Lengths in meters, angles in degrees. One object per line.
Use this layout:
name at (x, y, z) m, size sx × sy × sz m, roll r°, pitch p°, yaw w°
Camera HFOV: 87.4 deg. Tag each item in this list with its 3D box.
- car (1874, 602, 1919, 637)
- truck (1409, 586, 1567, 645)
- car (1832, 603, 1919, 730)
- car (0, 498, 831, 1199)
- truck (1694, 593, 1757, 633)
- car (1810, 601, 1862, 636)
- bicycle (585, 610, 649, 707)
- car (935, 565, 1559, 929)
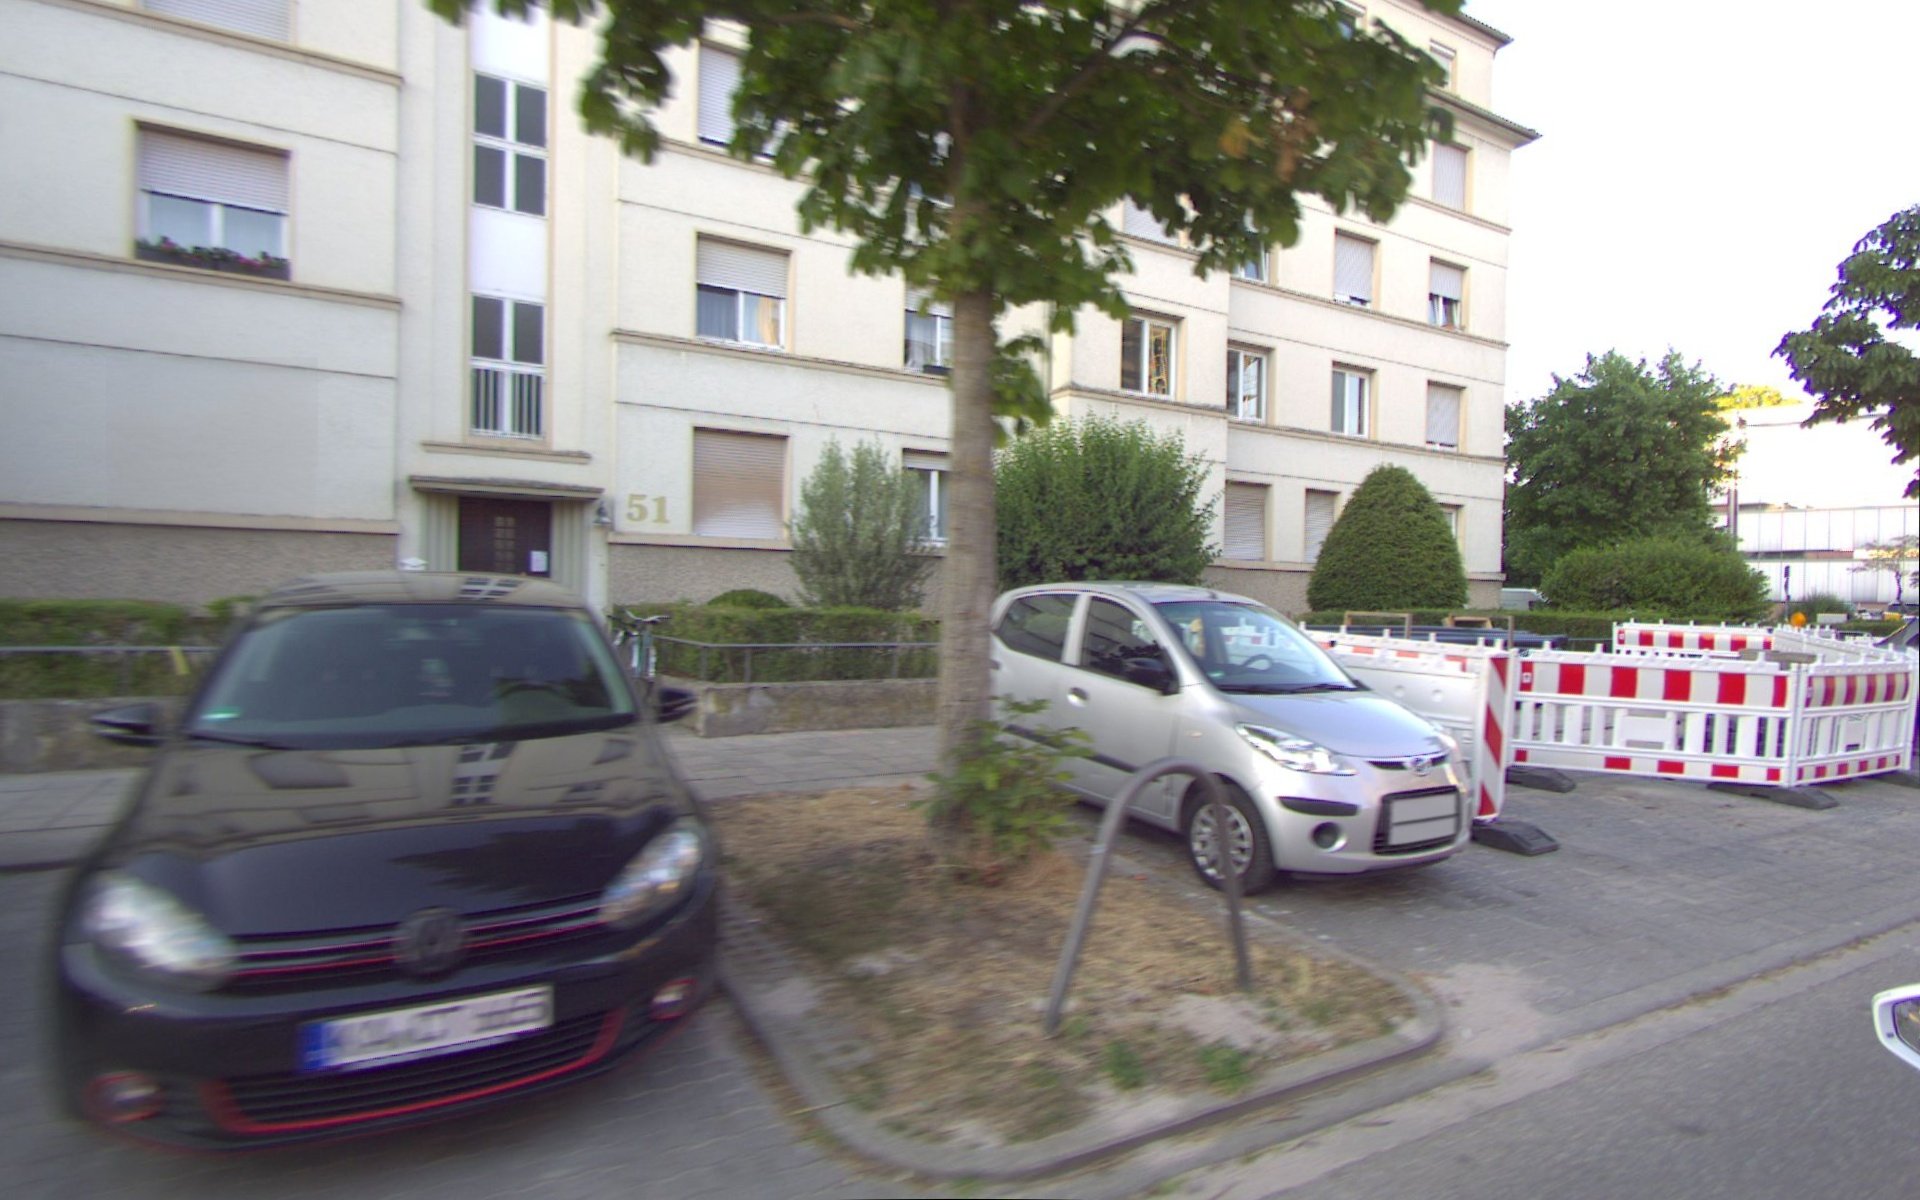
car at (47.913, 0.982, 51.046) m, size 1.970 × 1.715 × 3.980 m, roll 1°, pitch 0°, yaw 40°
truck at (23.494, 0.599, 44.838) m, size 5.952 × 2.455 × 2.099 m, roll 1°, pitch 1°, yaw 38°
car at (13.525, 0.945, 12.515) m, size 1.673 × 1.578 × 3.606 m, roll 1°, pitch 3°, yaw -29°
car at (-2.028, 0.530, 4.121) m, size 1.706 × 1.509 × 3.962 m, roll 2°, pitch 1°, yaw -27°
truck at (42.255, 0.719, 55.408) m, size 4.482 × 2.118 × 2.085 m, roll 1°, pitch 0°, yaw -44°
car at (46.001, 0.945, 52.803) m, size 1.970 × 1.750 × 4.279 m, roll 1°, pitch 0°, yaw 40°
bicycle at (-4.031, 0.637, 11.730) m, size 0.359 × 1.021 × 1.923 m, roll 1°, pitch 0°, yaw -29°
car at (1.506, 0.620, 6.313) m, size 1.710 × 1.587 × 3.452 m, roll 2°, pitch 1°, yaw -34°
